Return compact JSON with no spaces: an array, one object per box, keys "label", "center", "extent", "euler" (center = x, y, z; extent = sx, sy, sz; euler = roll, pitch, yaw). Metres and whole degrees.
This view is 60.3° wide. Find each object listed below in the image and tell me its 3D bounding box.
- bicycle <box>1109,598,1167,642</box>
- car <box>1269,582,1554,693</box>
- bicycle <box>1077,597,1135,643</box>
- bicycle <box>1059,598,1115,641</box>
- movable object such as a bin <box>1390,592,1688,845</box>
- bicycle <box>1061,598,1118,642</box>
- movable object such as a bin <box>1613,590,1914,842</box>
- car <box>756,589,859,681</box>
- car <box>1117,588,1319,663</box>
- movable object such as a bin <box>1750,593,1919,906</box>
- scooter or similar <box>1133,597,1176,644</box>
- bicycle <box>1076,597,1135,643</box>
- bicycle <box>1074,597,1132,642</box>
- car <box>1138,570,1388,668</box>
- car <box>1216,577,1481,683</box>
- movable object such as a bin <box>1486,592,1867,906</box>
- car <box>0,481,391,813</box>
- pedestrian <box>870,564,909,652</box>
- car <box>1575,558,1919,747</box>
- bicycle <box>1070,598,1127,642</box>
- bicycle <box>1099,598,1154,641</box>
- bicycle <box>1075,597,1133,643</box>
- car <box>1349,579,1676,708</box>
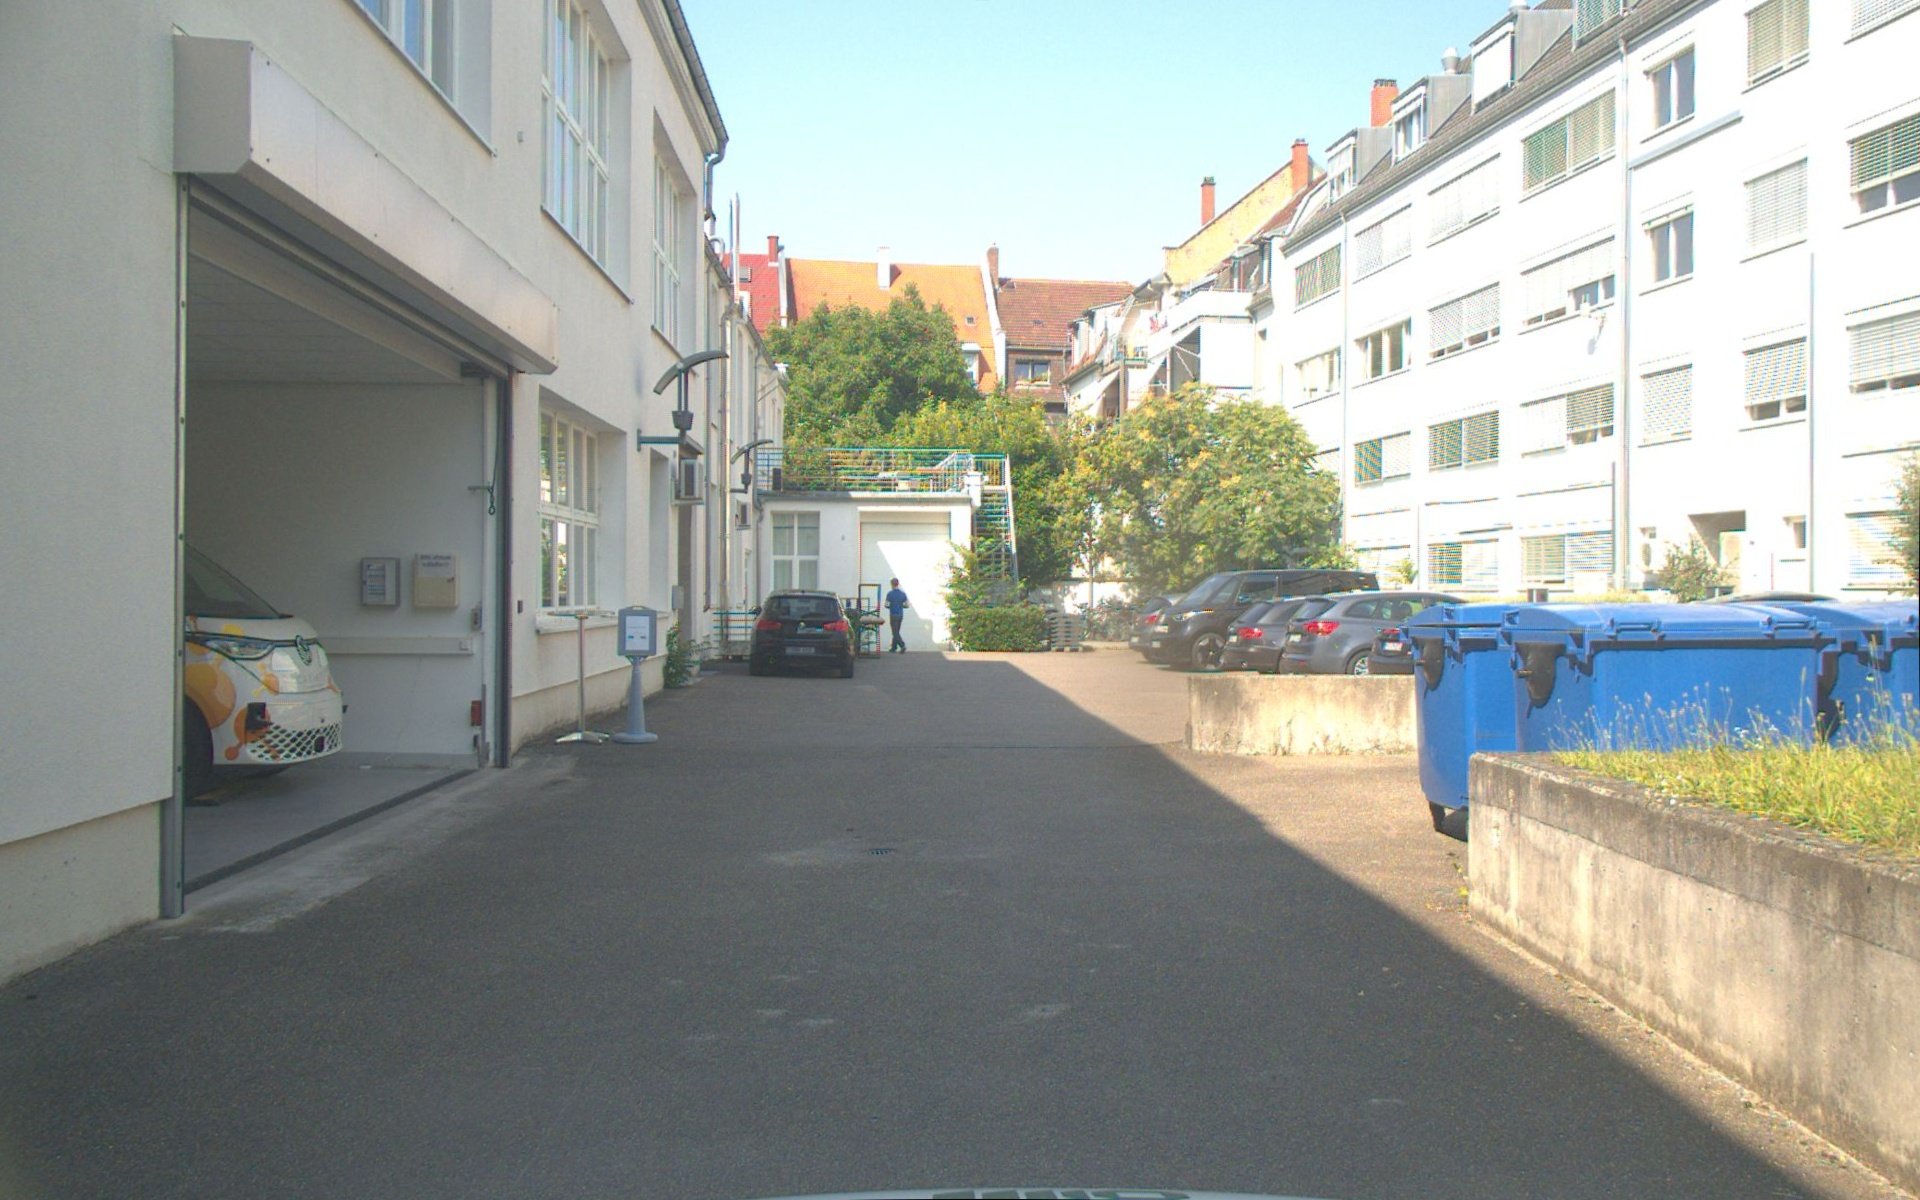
[{"label":"bicycle","center":[5.032,0.564,46.758],"extent":[1.588,1.235,0.327],"euler":[-1,0,13]},{"label":"car","center":[6.834,0.567,25.258],"extent":[3.789,1.617,1.876],"euler":[0,-1,-8]},{"label":"bicycle","center":[4.065,0.555,46.073],"extent":[1.590,1.235,0.327],"euler":[-1,0,-1]},{"label":"bicycle","center":[3.779,0.574,49.085],"extent":[1.592,1.235,0.423],"euler":[-1,0,-7]},{"label":"movable object such as a bin","center":[3.289,0.646,9.540],"extent":[1.274,1.364,1.194],"euler":[0,-1,-3]},{"label":"bicycle","center":[3.746,0.566,47.846],"extent":[1.591,1.235,0.424],"euler":[-1,0,-3]},{"label":"movable object such as a bin","center":[4.590,0.635,9.553],"extent":[1.209,1.364,1.117],"euler":[0,-1,1]},{"label":"car","center":[-2.592,0.587,28.745],"extent":[1.655,1.484,3.920],"euler":[0,0,-4]},{"label":"car","center":[5.448,0.538,35.113],"extent":[3.862,1.508,1.769],"euler":[0,-1,-12]},{"label":"movable object such as a bin","center":[4.620,0.659,7.836],"extent":[1.203,1.364,1.075],"euler":[0,-1,-7]},{"label":"scooter or similar","center":[5.350,0.563,45.575],"extent":[0.375,1.283,1.333],"euler":[-1,0,-34]},{"label":"bicycle","center":[4.012,0.552,45.749],"extent":[1.590,1.235,0.327],"euler":[-1,0,-1]},{"label":"bicycle","center":[4.045,0.559,46.817],"extent":[1.588,1.235,0.327],"euler":[-1,0,8]},{"label":"car","center":[5.880,0.358,32.246],"extent":[4.420,1.826,1.878],"euler":[0,-1,-12]},{"label":"car","center":[6.542,0.503,28.067],"extent":[4.036,1.721,1.769],"euler":[0,-1,-5]},{"label":"movable object such as a bin","center":[3.316,0.652,7.788],"extent":[1.284,1.364,1.099],"euler":[0,-1,-5]},{"label":"car","center":[-6.720,0.294,11.687],"extent":[4.651,2.129,2.055],"euler":[1,-1,-2]},{"label":"pedestrian","center":[-1.647,0.197,38.965],"extent":[0.895,2.049,0.934],"euler":[0,-1,-2]},{"label":"car","center":[8.316,0.469,16.555],"extent":[3.548,1.571,1.801],"euler":[-4,0,-4]},{"label":"bicycle","center":[3.955,0.561,47.178],"extent":[1.588,1.235,0.327],"euler":[-1,0,11]},{"label":"bicycle","center":[4.963,0.581,49.219],"extent":[1.588,1.235,0.424],"euler":[-1,0,10]},{"label":"bicycle","center":[4.026,0.556,46.365],"extent":[1.590,1.235,0.327],"euler":[-1,0,-1]},{"label":"car","center":[7.324,0.558,22.073],"extent":[3.732,1.617,1.892],"euler":[0,-1,-12]}]
